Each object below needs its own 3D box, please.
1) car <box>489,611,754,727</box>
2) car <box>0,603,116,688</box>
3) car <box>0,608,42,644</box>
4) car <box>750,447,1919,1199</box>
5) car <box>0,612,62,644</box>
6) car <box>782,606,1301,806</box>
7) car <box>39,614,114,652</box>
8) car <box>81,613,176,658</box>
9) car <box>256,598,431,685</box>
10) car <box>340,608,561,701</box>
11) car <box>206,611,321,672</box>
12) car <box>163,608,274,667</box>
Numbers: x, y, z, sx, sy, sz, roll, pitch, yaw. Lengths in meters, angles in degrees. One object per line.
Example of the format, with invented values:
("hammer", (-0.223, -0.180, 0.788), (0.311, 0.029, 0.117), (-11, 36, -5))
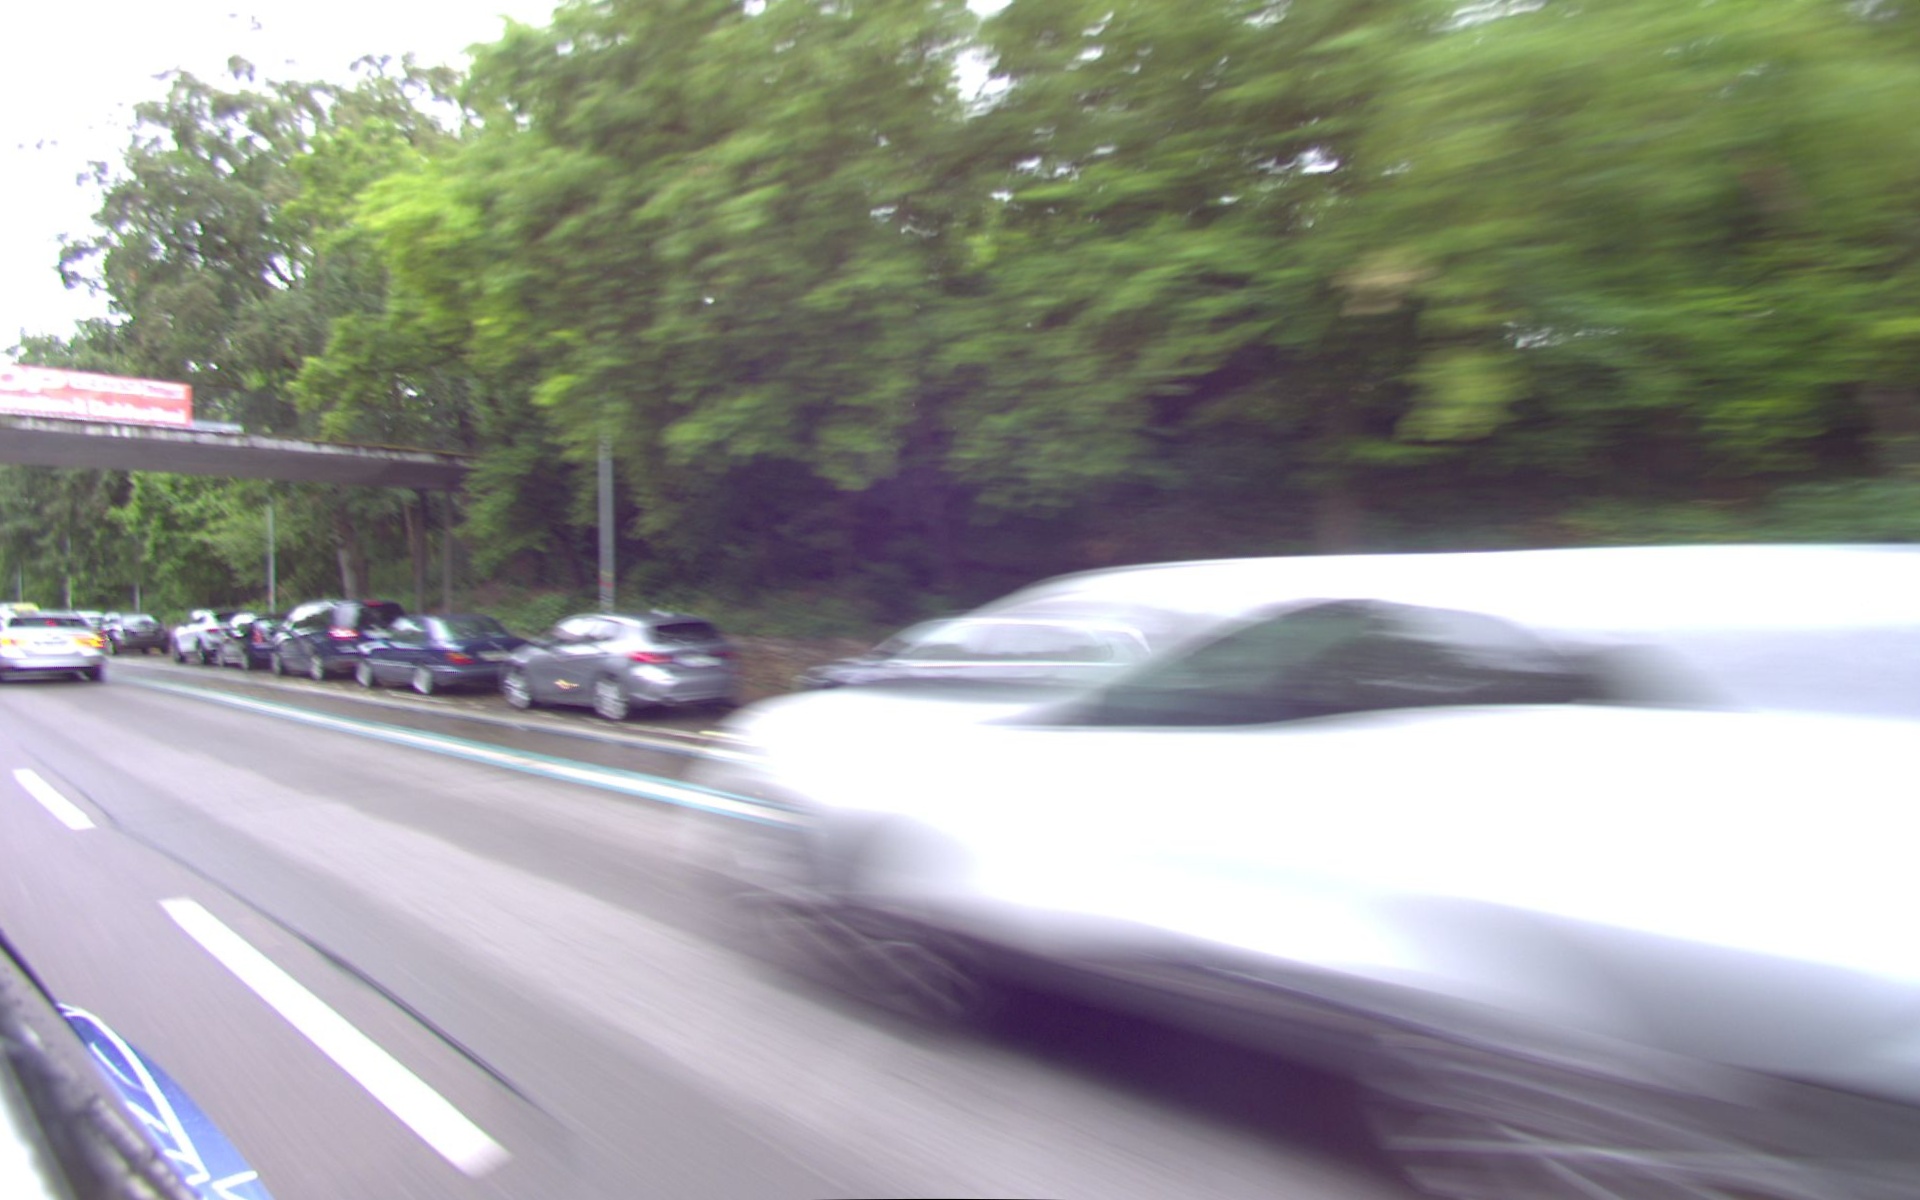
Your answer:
("car", (-5.045, 0.914, 14.781), (4.294, 1.434, 1.765), (-2, -1, 41))
("car", (-19.127, 0.881, 20.920), (4.619, 1.572, 1.901), (-1, -1, 41))
("car", (-56.579, 1.556, 60.201), (5.010, 2.020, 1.956), (-2, 0, 37))
("car", (1.313, 0.604, 3.190), (4.128, 1.664, 1.776), (-1, -2, 42))
("car", (-49.848, 1.472, 54.165), (4.776, 1.618, 1.990), (-1, 0, 40))
("car", (0.588, 0.821, 9.746), (4.752, 1.474, 1.937), (-1, -1, 39))
("car", (-37.513, 1.392, 42.940), (3.978, 1.493, 1.771), (-2, -1, 39))
("car", (-29.490, 1.249, 35.859), (4.035, 1.488, 1.813), (-2, -1, 38))
("car", (-13.997, 0.889, 22.872), (4.834, 1.755, 1.970), (-2, -1, 40))
("car", (-9.708, 0.958, 19.103), (4.894, 1.484, 1.963), (-2, 0, 40))
("car", (-18.134, 1.055, 26.283), (3.841, 1.450, 1.593), (-2, -1, 41))
("car", (-21.467, 1.062, 29.236), (4.229, 1.558, 1.670), (-2, -1, 40))
